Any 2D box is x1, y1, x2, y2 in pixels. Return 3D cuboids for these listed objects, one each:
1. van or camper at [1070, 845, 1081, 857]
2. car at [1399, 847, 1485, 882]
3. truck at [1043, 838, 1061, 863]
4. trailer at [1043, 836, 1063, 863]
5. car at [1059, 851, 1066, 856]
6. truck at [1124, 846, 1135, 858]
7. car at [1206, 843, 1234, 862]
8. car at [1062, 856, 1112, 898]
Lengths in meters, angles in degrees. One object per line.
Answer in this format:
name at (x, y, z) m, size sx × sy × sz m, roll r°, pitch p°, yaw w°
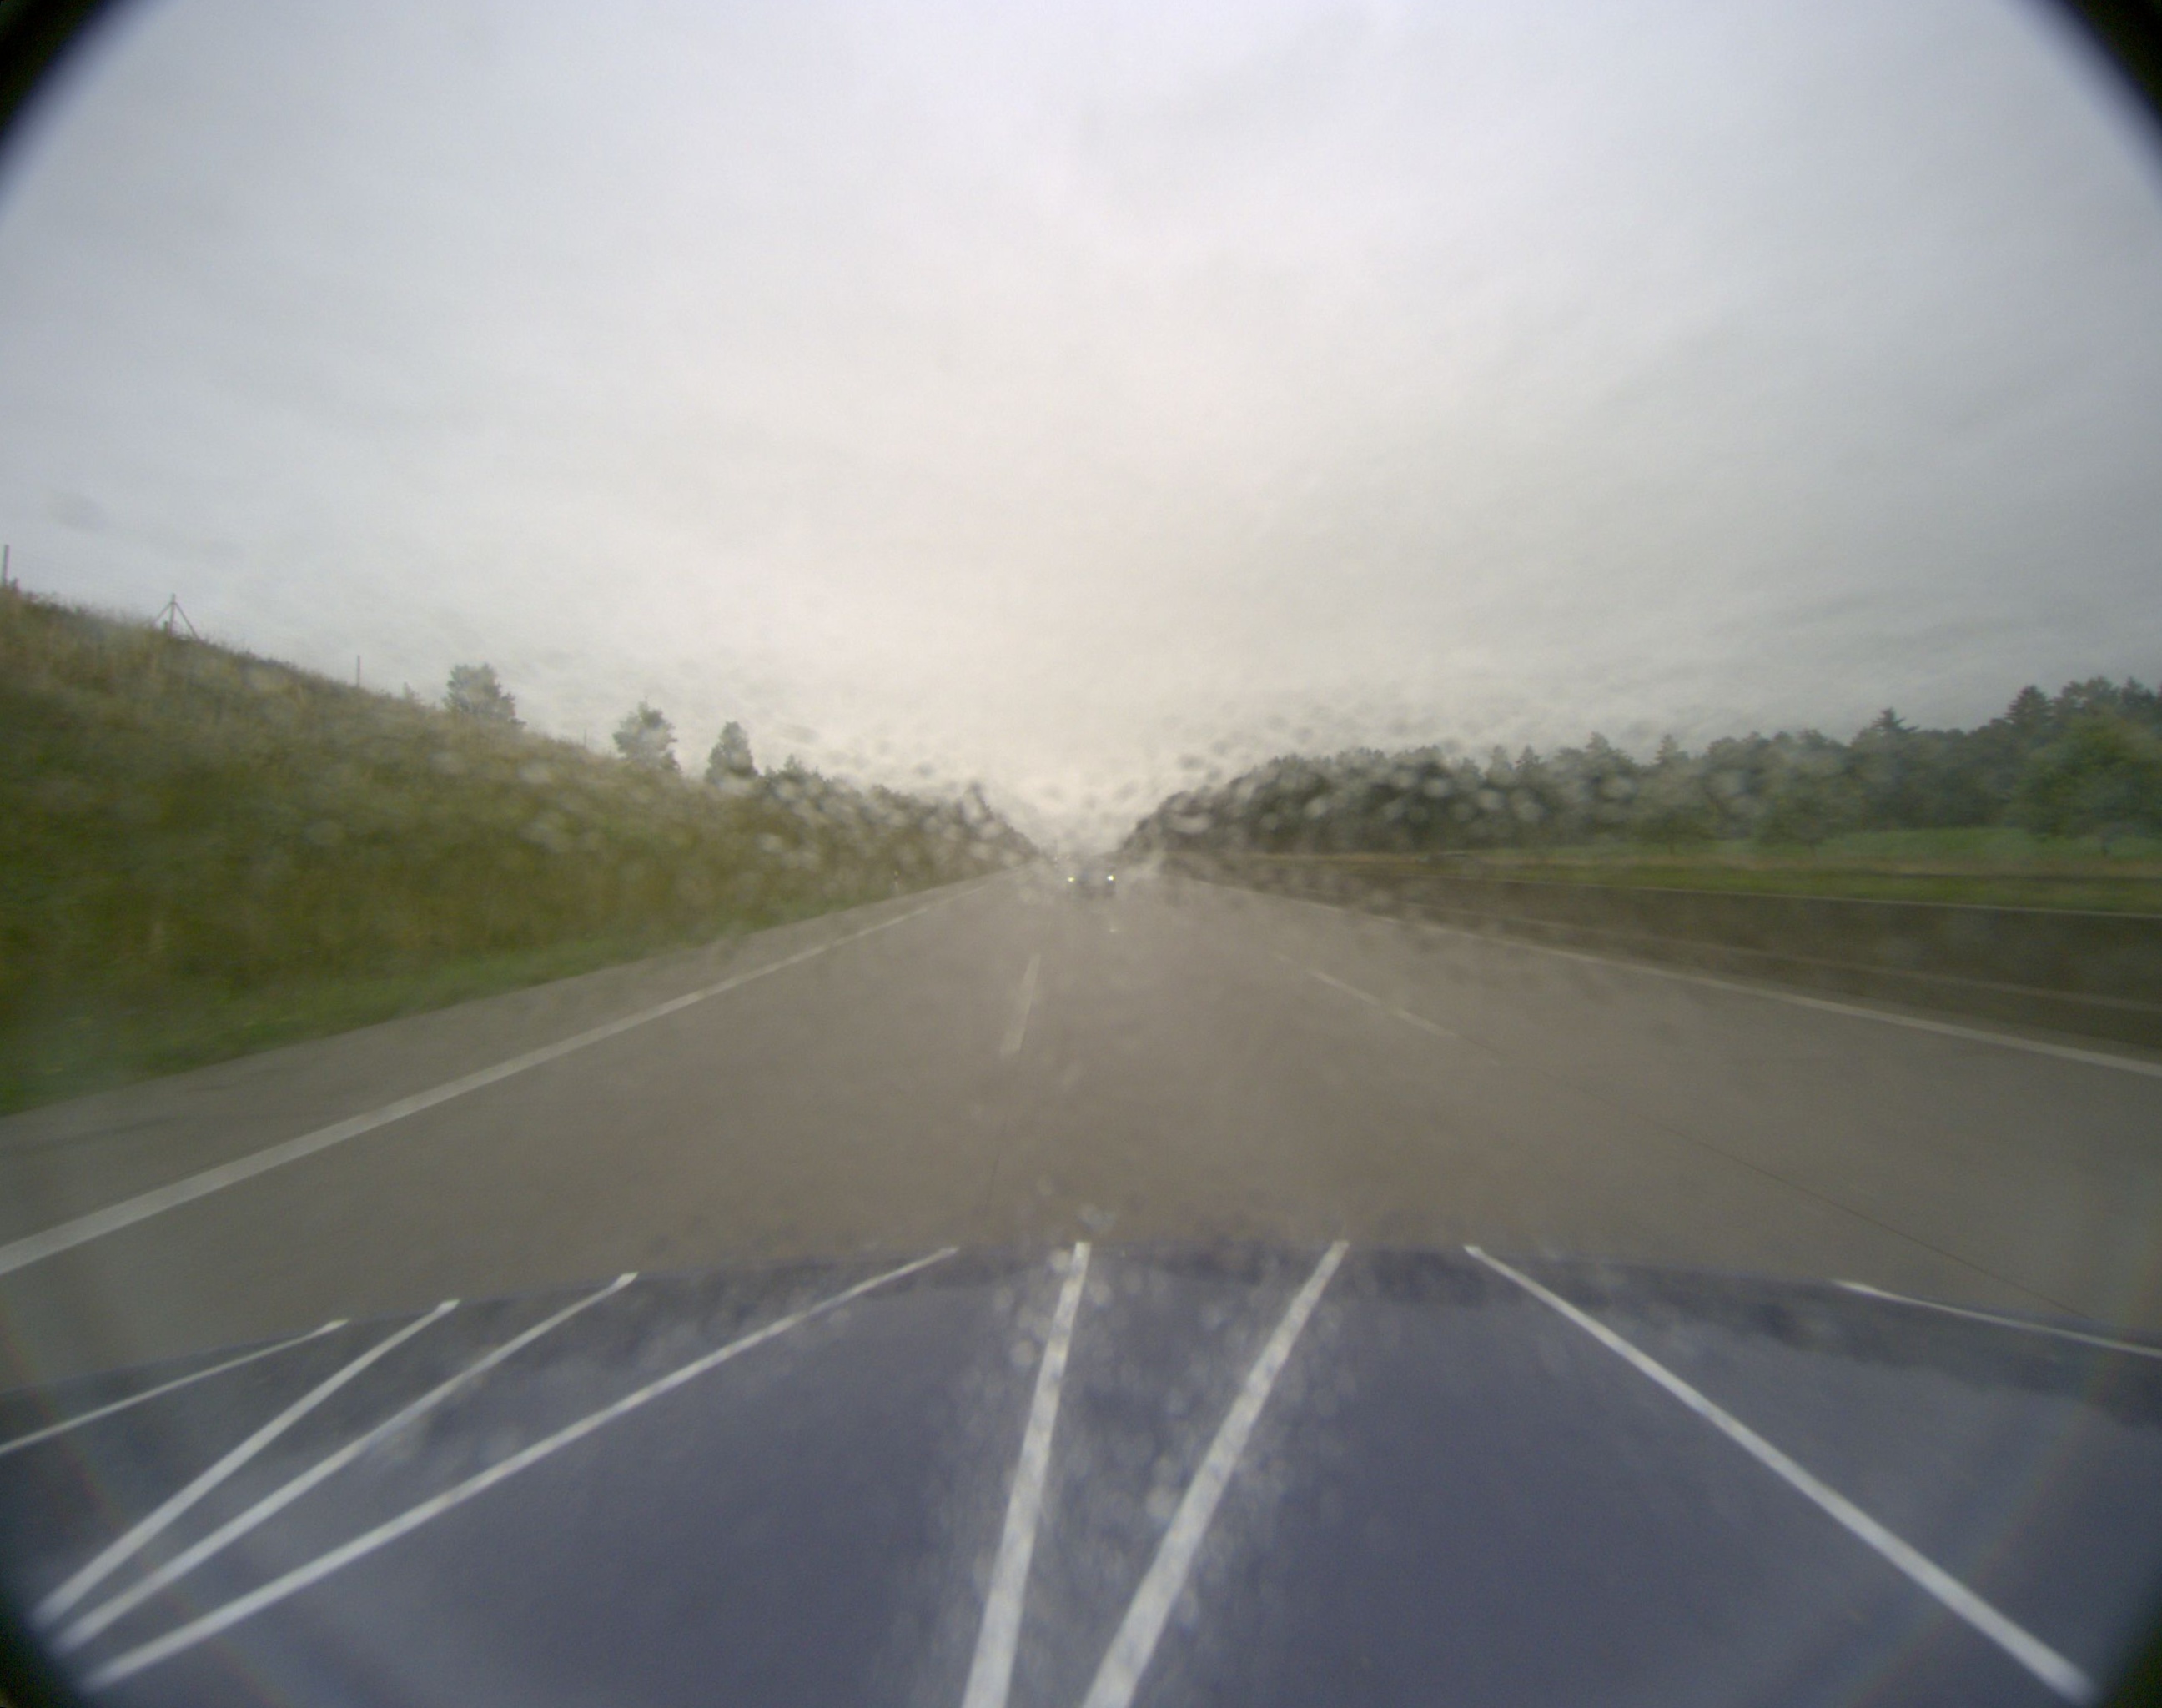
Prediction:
van or camper at (-1.337, -0.760, 181.911) m, size 2.233 × 2.537 × 7.948 m, roll 4°, pitch 2°, yaw 1°
car at (15.719, 0.415, 33.314) m, size 1.677 × 1.390 × 4.065 m, roll -3°, pitch 0°, yaw -2°
truck at (-4.757, -0.528, 124.498) m, size 2.643 × 3.930 × 5.686 m, roll -3°, pitch 0°, yaw 0°
trailer at (-4.801, -0.639, 132.264) m, size 2.713 × 4.353 × 15.205 m, roll -3°, pitch 0°, yaw 0°
car at (-5.871, -0.175, 244.831) m, size 1.998 × 1.575 × 5.954 m, roll -3°, pitch -1°, yaw 0°
truck at (16.557, -0.619, 261.299) m, size 2.910 × 3.833 × 12.449 m, roll -1°, pitch 0°, yaw -1°
car at (12.792, -0.124, 70.058) m, size 1.677 × 1.637 × 4.065 m, roll -1°, pitch 0°, yaw -2°
car at (0.200, 0.821, 29.232) m, size 1.734 × 1.450 × 4.672 m, roll -1°, pitch 0°, yaw 0°
